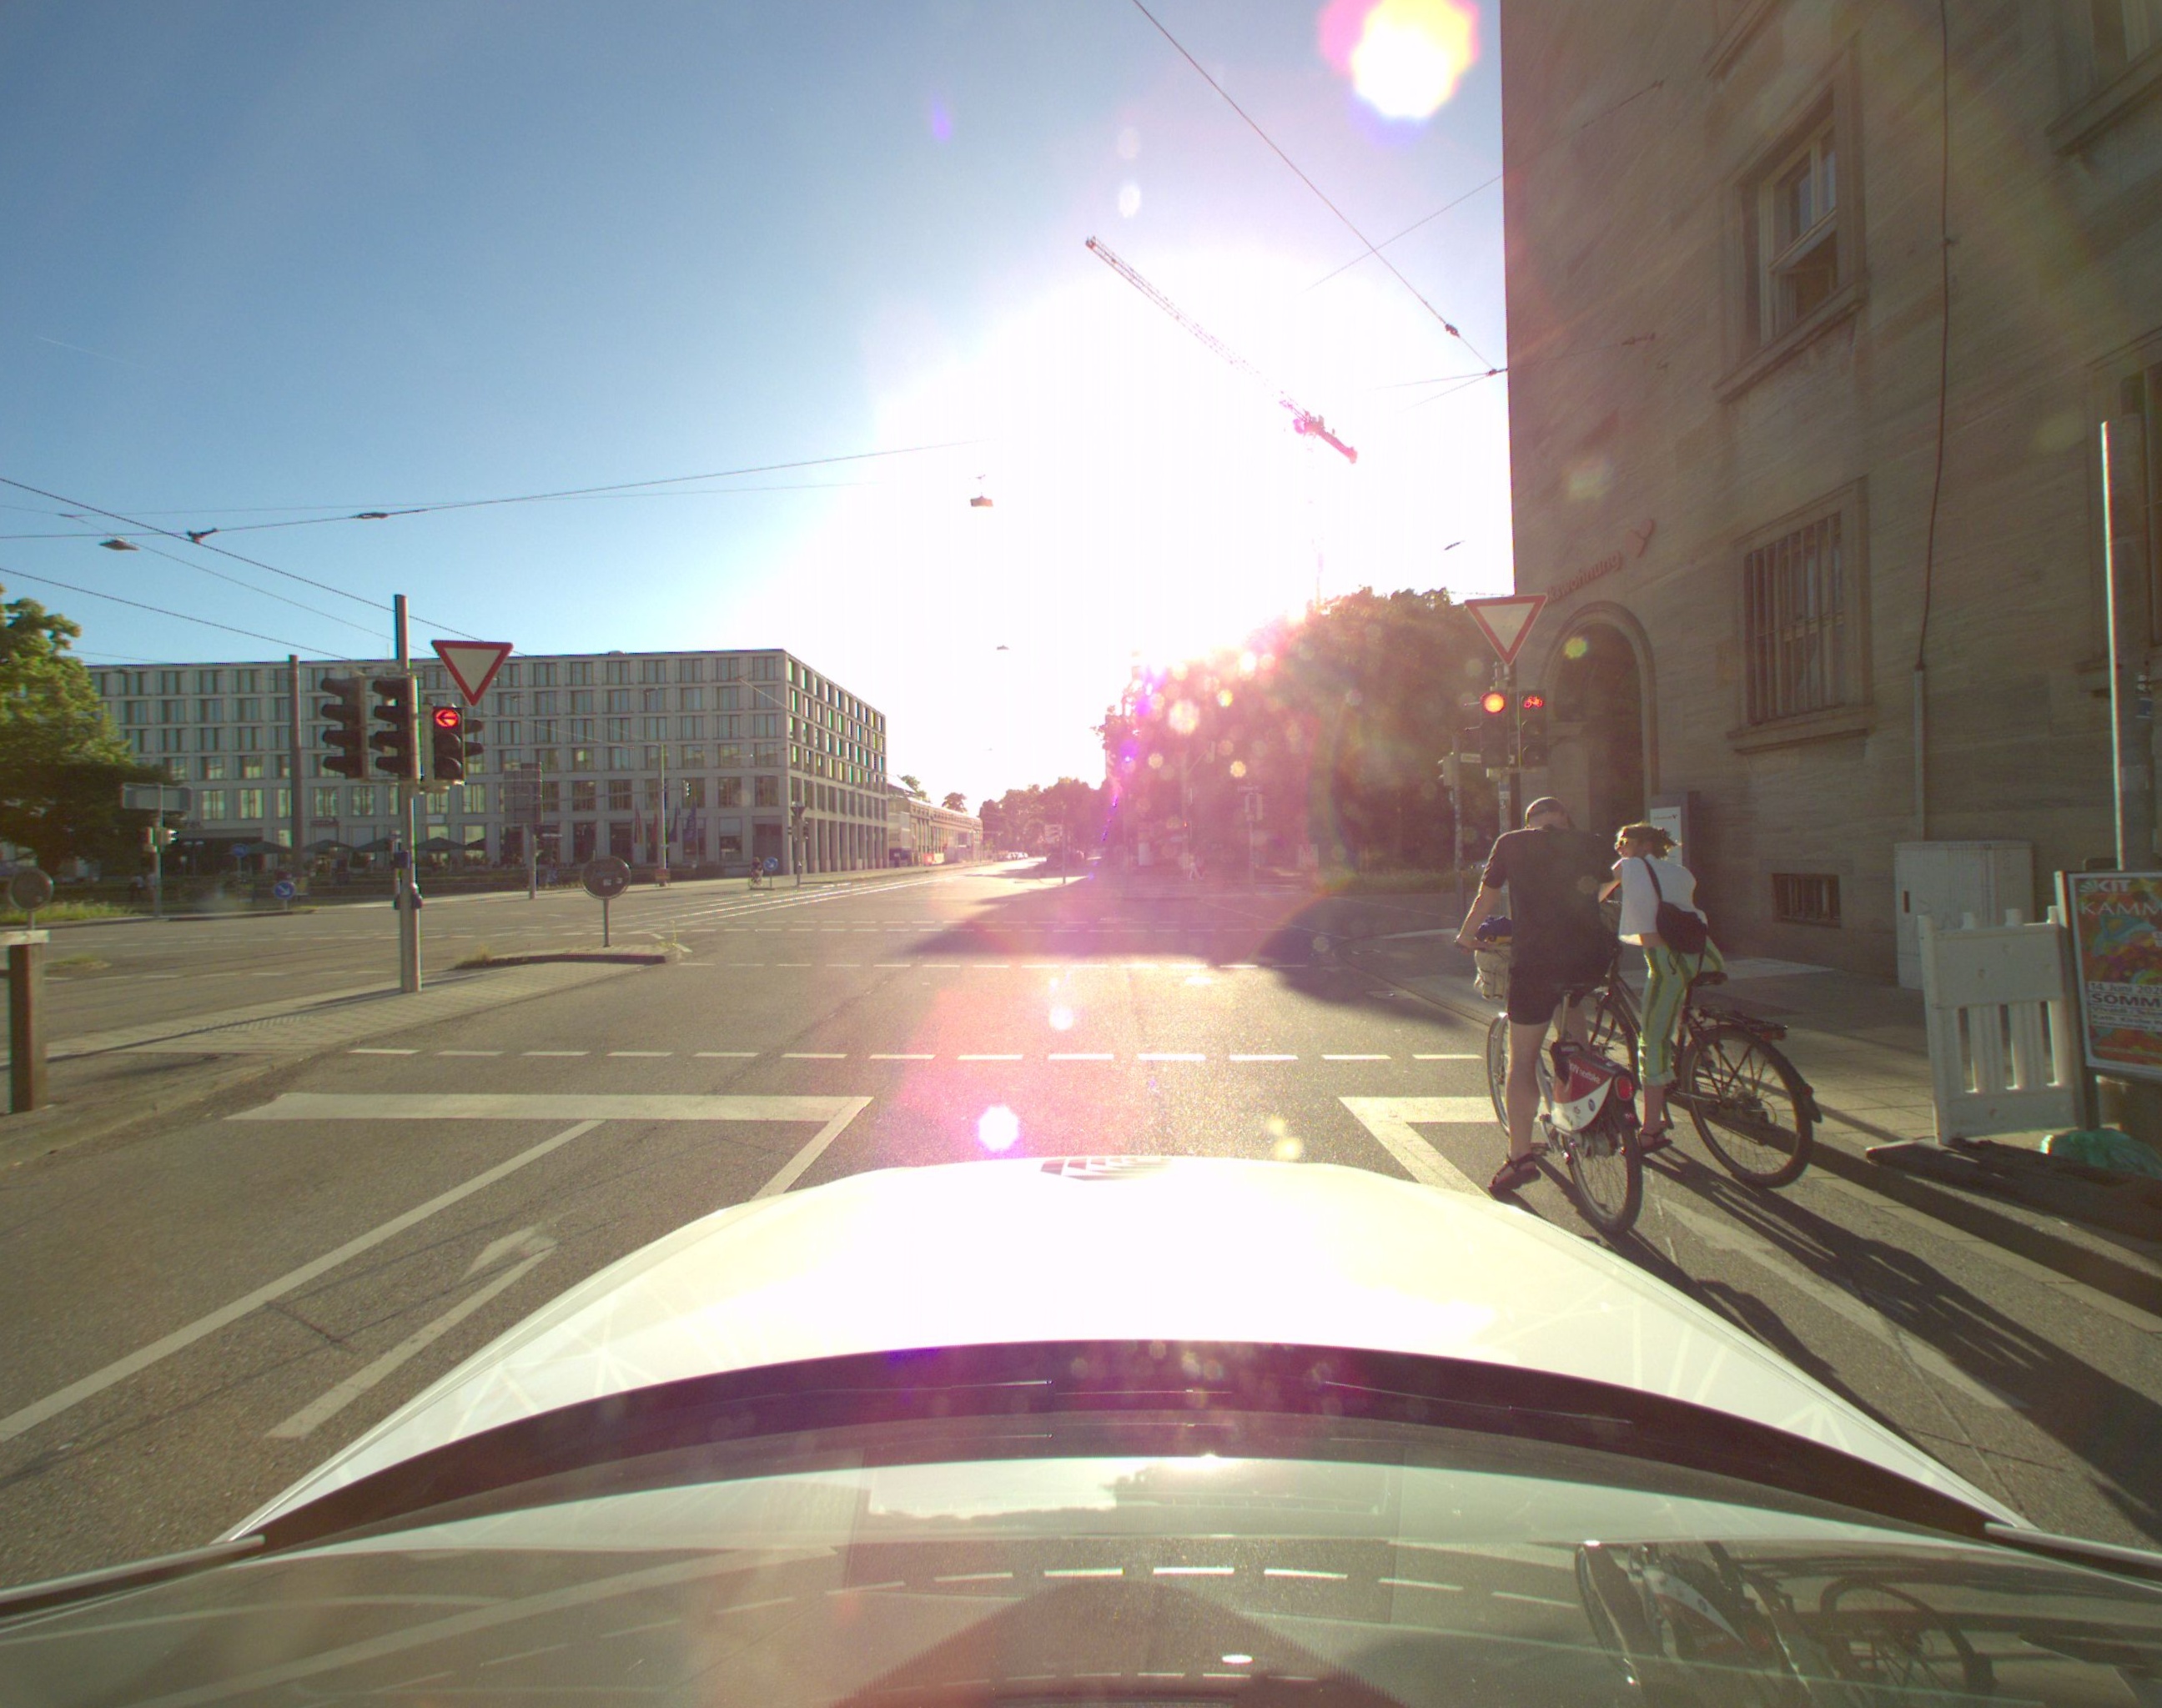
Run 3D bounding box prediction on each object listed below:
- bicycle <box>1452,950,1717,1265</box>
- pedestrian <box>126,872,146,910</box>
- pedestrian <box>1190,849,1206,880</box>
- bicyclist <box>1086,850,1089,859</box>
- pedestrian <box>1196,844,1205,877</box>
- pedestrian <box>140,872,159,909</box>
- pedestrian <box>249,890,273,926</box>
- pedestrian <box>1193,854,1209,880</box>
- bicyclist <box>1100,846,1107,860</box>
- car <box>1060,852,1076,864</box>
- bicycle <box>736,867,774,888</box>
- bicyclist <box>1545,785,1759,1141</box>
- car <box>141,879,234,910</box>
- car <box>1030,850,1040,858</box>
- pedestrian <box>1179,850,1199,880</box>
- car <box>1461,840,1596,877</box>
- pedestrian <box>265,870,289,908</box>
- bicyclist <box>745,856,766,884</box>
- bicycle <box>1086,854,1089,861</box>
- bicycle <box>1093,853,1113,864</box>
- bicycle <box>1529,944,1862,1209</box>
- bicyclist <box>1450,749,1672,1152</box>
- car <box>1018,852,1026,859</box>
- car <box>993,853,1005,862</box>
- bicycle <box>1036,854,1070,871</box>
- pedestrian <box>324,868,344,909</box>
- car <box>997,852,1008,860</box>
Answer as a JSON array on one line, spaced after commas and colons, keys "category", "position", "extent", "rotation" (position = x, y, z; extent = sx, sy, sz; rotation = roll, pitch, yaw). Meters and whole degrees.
[{"category": "bicycle", "position": [2.276, 1.038, 3.945], "extent": [0.387, 0.905, 1.956], "rotation": [-2, 0, 10]}, {"category": "pedestrian", "position": [-50.872, 1.990, 43.852], "extent": [0.490, 2.013, 0.493], "rotation": [-2, 0, 14]}, {"category": "pedestrian", "position": [6.424, 0.560, 44.597], "extent": [0.790, 1.639, 0.535], "rotation": [-2, 0, 11]}, {"category": "bicyclist", "position": [0.778, 0.070, 98.565], "extent": [0.316, 1.127, 0.292], "rotation": [-2, 0, 9]}, {"category": "pedestrian", "position": [6.517, 0.350, 44.447], "extent": [0.358, 1.804, 0.508], "rotation": [-2, 0, 14]}, {"category": "pedestrian", "position": [-50.910, 1.995, 44.504], "extent": [0.490, 2.013, 0.493], "rotation": [-2, 0, 14]}, {"category": "pedestrian", "position": [-46.689, 3.067, 46.373], "extent": [0.528, 2.013, 0.800], "rotation": [-2, 0, -5]}, {"category": "pedestrian", "position": [6.366, 0.702, 43.227], "extent": [0.747, 1.332, 0.744], "rotation": [-2, 0, 9]}, {"category": "bicyclist", "position": [2.817, -0.133, 102.927], "extent": [0.802, 1.844, 0.731], "rotation": [-2, 0, 1]}, {"category": "car", "position": [-1.453, 0.438, 92.514], "extent": [1.814, 1.279, 3.999], "rotation": [-2, 0, 0]}, {"category": "bicycle", "position": [-19.277, 1.390, 48.288], "extent": [0.872, 1.121, 3.015], "rotation": [-2, 0, 3]}, {"category": "bicyclist", "position": [2.955, 0.521, 4.299], "extent": [0.519, 1.679, 0.860], "rotation": [-2, 0, 5]}, {"category": "car", "position": [-46.851, 2.100, 42.722], "extent": [3.174, 1.438, 1.471], "rotation": [-2, 0, 0]}, {"category": "car", "position": [-11.013, 0.027, 194.087], "extent": [1.986, 2.014, 4.001], "rotation": [0, -1, 2]}, {"category": "pedestrian", "position": [5.839, 0.575, 44.044], "extent": [0.979, 1.587, 0.661], "rotation": [-2, -1, 6]}, {"category": "car", "position": [18.032, 0.186, 32.955], "extent": [4.422, 1.329, 1.778], "rotation": [-2, 0, 4]}, {"category": "pedestrian", "position": [-44.166, 1.913, 44.717], "extent": [0.648, 2.068, 0.649], "rotation": [-2, -1, -5]}, {"category": "bicyclist", "position": [-19.290, 0.928, 48.271], "extent": [0.872, 1.641, 0.822], "rotation": [-2, 0, 3]}, {"category": "bicycle", "position": [0.840, 0.398, 98.761], "extent": [0.323, 0.868, 1.484], "rotation": [-2, 0, 2]}, {"category": "bicycle", "position": [2.745, 0.574, 102.758], "extent": [2.559, 1.288, 0.728], "rotation": [0, -1, 1]}, {"category": "bicycle", "position": [3.093, 1.037, 4.365], "extent": [0.424, 0.876, 1.953], "rotation": [-2, 0, 5]}, {"category": "bicyclist", "position": [2.174, 0.409, 3.781], "extent": [0.665, 1.678, 0.659], "rotation": [-2, 0, 11]}, {"category": "car", "position": [-14.076, 0.326, 194.755], "extent": [1.478, 1.750, 4.002], "rotation": [-2, 0, 2]}, {"category": "car", "position": [-15.651, 0.573, 156.468], "extent": [1.724, 1.653, 4.002], "rotation": [-2, 0, 2]}, {"category": "bicycle", "position": [-2.331, 0.726, 67.373], "extent": [2.728, 1.367, 0.633], "rotation": [-1, -1, 12]}, {"category": "pedestrian", "position": [-42.373, 1.965, 46.193], "extent": [0.568, 2.280, 0.533], "rotation": [-2, 0, -5]}, {"category": "car", "position": [-15.444, 0.408, 160.572], "extent": [1.724, 1.653, 4.002], "rotation": [-2, 0, 2]}]
